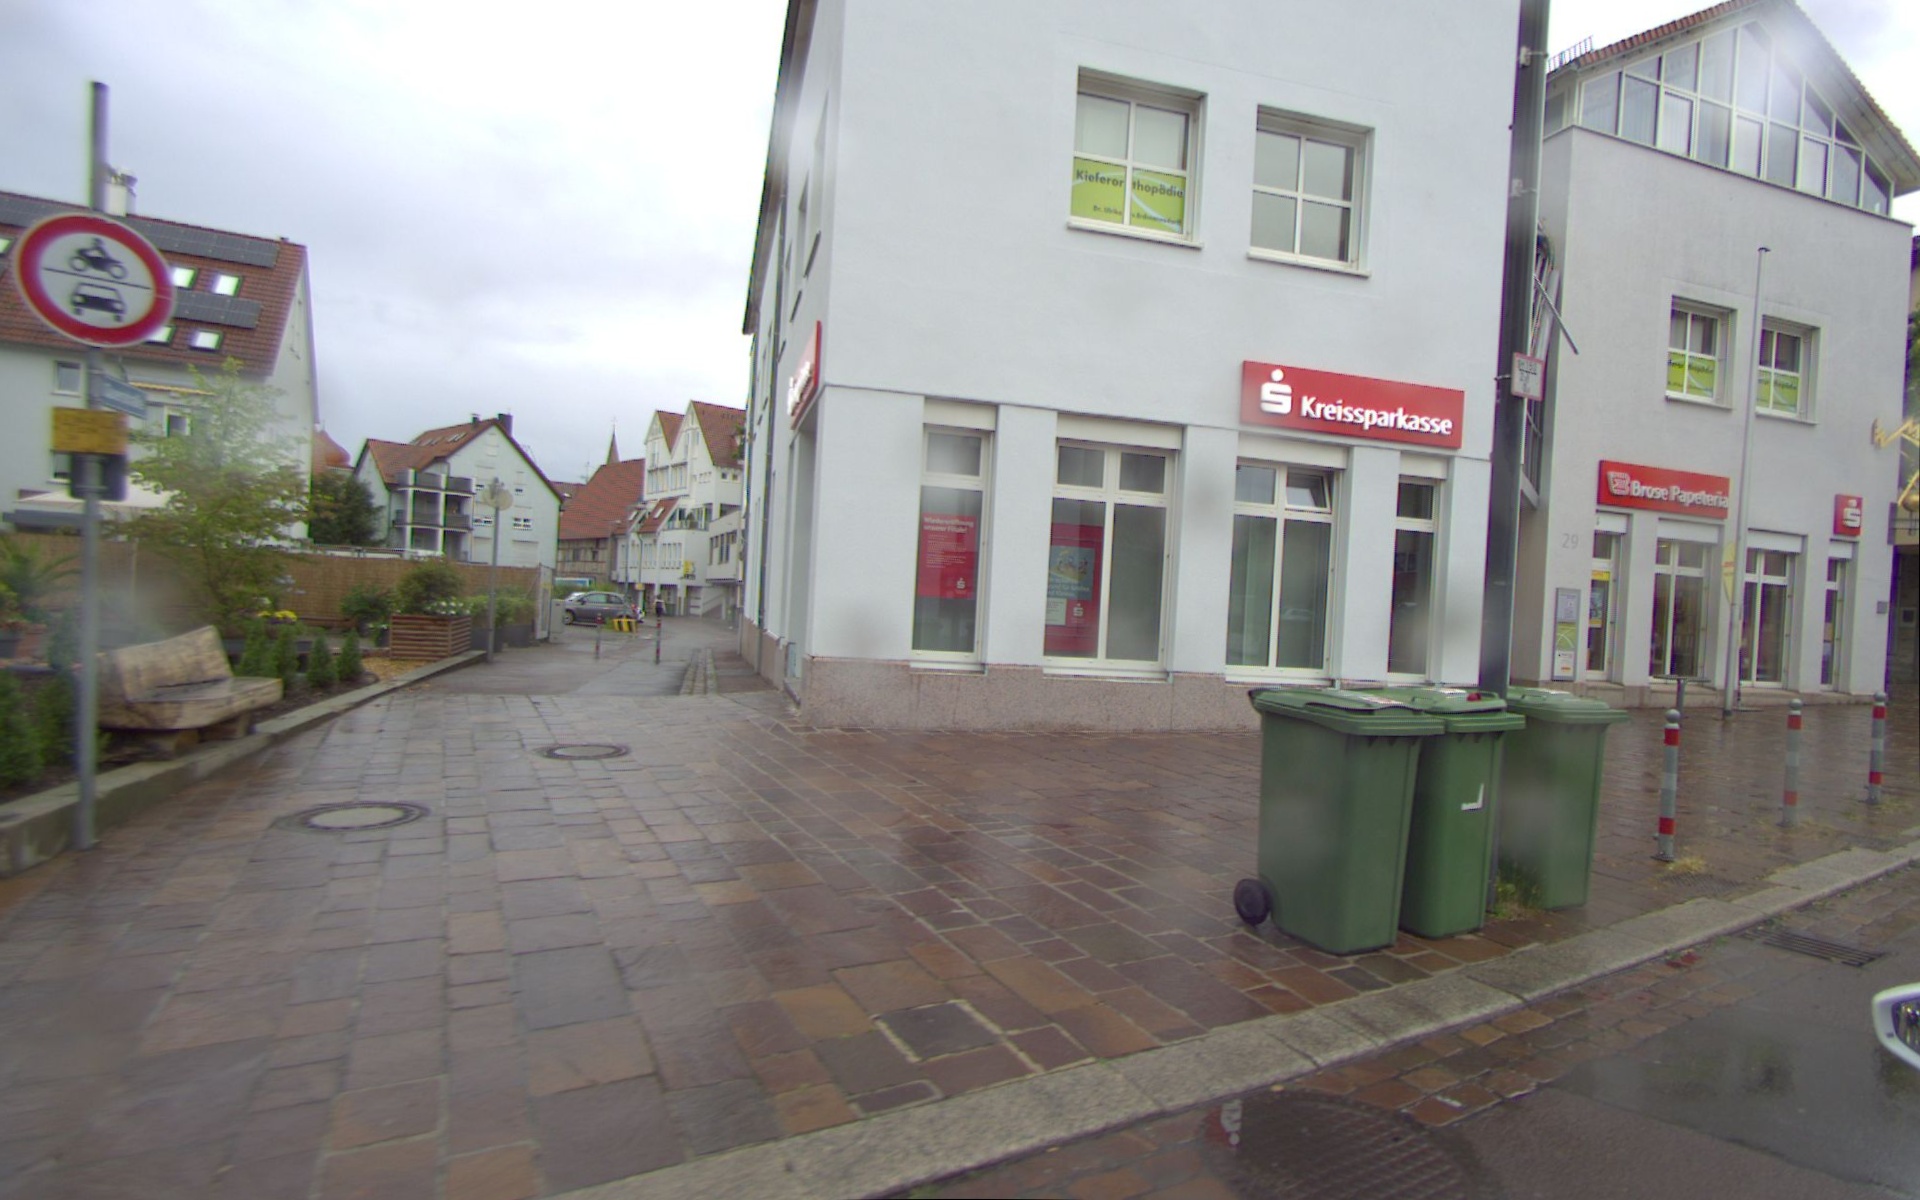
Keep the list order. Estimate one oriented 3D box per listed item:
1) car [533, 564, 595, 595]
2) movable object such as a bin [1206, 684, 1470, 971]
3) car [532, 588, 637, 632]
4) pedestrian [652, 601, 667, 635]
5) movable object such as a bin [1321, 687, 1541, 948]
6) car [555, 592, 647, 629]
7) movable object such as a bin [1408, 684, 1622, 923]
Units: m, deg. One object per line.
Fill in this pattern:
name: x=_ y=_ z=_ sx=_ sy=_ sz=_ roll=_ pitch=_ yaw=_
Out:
car: x=-29.259 y=-1.485 z=74.230 sx=3.954 sy=2.040 sz=1.984 roll=4 pitch=-1 yaw=-30
movable object such as a bin: x=1.670 y=0.948 z=4.500 sx=0.692 sy=1.064 sz=0.814 roll=4 pitch=-1 yaw=-31
car: x=-15.705 y=0.424 z=42.175 sx=3.940 sy=1.550 sz=1.991 roll=4 pitch=-1 yaw=-20
pedestrian: x=-16.430 y=0.979 z=54.928 sx=0.656 sy=1.783 sz=0.890 roll=3 pitch=-1 yaw=-19
movable object such as a bin: x=2.241 y=0.986 z=4.825 sx=0.518 sy=1.064 sz=0.761 roll=4 pitch=-1 yaw=-30
car: x=-17.352 y=0.504 z=48.738 sx=3.935 sy=1.550 sz=1.994 roll=4 pitch=-1 yaw=-16
movable object such as a bin: x=2.910 y=1.025 z=5.309 sx=0.518 sy=1.064 sz=0.761 roll=3 pitch=2 yaw=-30
